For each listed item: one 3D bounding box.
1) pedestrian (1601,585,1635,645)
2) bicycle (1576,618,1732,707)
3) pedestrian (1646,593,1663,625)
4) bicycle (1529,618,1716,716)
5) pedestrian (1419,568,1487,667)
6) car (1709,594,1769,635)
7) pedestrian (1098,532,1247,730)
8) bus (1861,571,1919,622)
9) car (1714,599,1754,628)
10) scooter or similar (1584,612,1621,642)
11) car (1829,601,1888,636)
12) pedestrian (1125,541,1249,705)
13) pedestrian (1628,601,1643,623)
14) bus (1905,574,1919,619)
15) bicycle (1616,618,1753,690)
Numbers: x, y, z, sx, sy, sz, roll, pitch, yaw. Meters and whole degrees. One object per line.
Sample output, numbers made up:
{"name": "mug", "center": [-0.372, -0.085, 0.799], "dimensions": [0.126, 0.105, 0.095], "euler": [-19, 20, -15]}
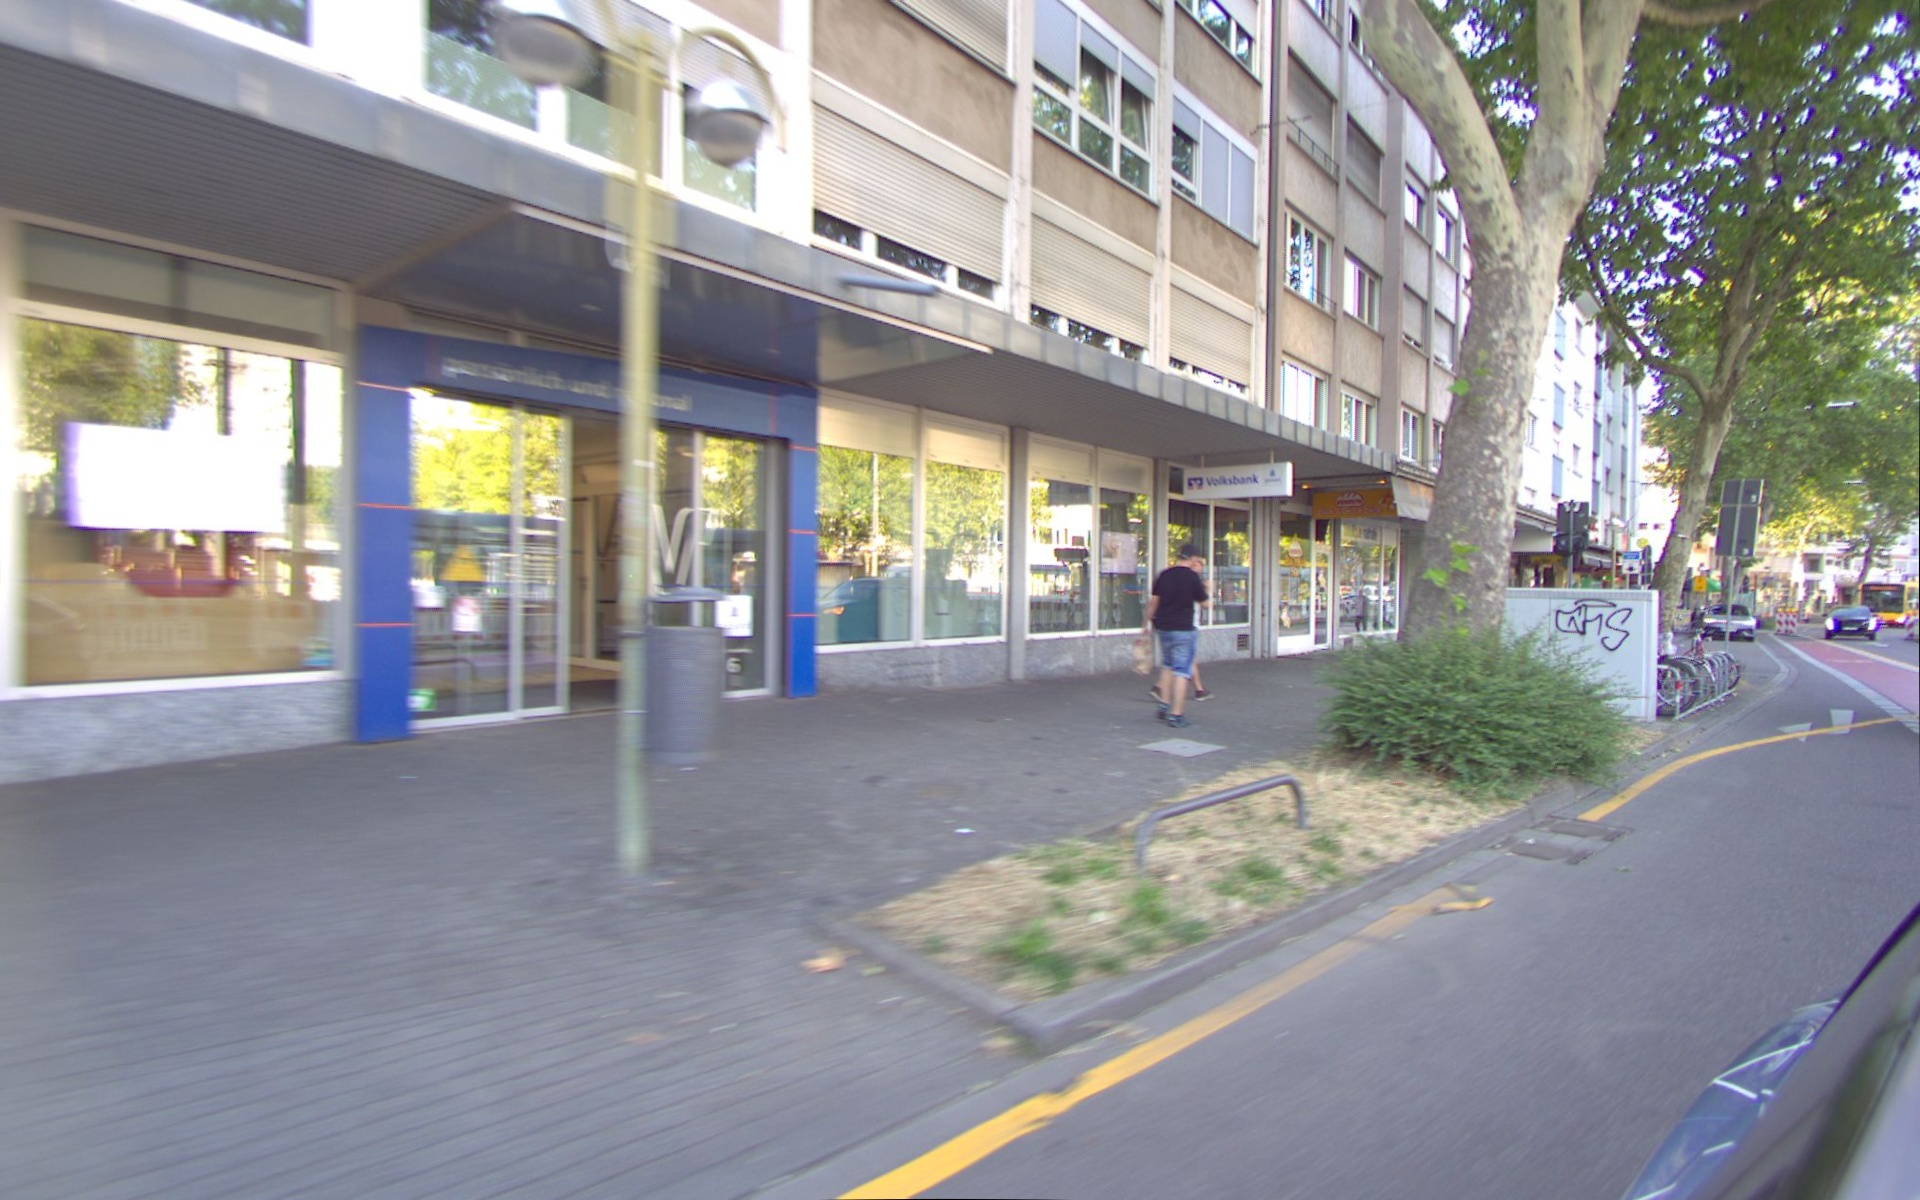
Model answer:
{"name": "pedestrian", "center": [18.894, 0.431, 29.062], "dimensions": [0.637, 1.694, 0.554], "euler": [1, 0, 10]}
{"name": "bicycle", "center": [9.744, 0.842, 14.248], "dimensions": [1.713, 1.071, 0.634], "euler": [3, 2, 42]}
{"name": "pedestrian", "center": [35.308, 0.450, 51.429], "dimensions": [0.582, 1.579, 0.632], "euler": [4, 2, 41]}
{"name": "bicycle", "center": [8.682, 0.837, 13.312], "dimensions": [1.983, 1.071, 0.760], "euler": [3, 2, 38]}
{"name": "pedestrian", "center": [8.908, 0.301, 18.284], "dimensions": [0.842, 1.694, 0.976], "euler": [3, 2, 39]}
{"name": "car", "center": [34.120, 0.606, 44.394], "dimensions": [1.913, 1.617, 4.728], "euler": [3, 2, 36]}
{"name": "pedestrian", "center": [2.044, 0.258, 9.720], "dimensions": [0.898, 1.730, 1.055], "euler": [6, 4, 39]}
{"name": "bus", "center": [65.557, -0.178, 69.523], "dimensions": [12.072, 3.248, 2.739], "euler": [1, -1, -35]}
{"name": "car", "center": [43.113, 0.731, 56.343], "dimensions": [1.653, 1.498, 3.747], "euler": [3, 2, 39]}
{"name": "scooter or similar", "center": [18.930, 0.788, 29.813], "dimensions": [0.566, 0.854, 0.734], "euler": [1, 0, -6]}
{"name": "car", "center": [42.961, 0.886, 48.459], "dimensions": [1.991, 1.605, 4.550], "euler": [0, -1, 40]}
{"name": "pedestrian", "center": [2.598, 0.235, 11.579], "dimensions": [0.898, 1.717, 1.055], "euler": [6, 3, 39]}
{"name": "pedestrian", "center": [35.646, 0.629, 53.432], "dimensions": [0.512, 1.148, 0.505], "euler": [2, 1, 18]}
{"name": "bus", "center": [74.292, -0.213, 75.399], "dimensions": [12.120, 3.248, 2.741], "euler": [1, -1, -33]}
{"name": "bicycle", "center": [12.017, 0.867, 16.830], "dimensions": [1.785, 1.034, 0.635], "euler": [3, 2, 38]}
